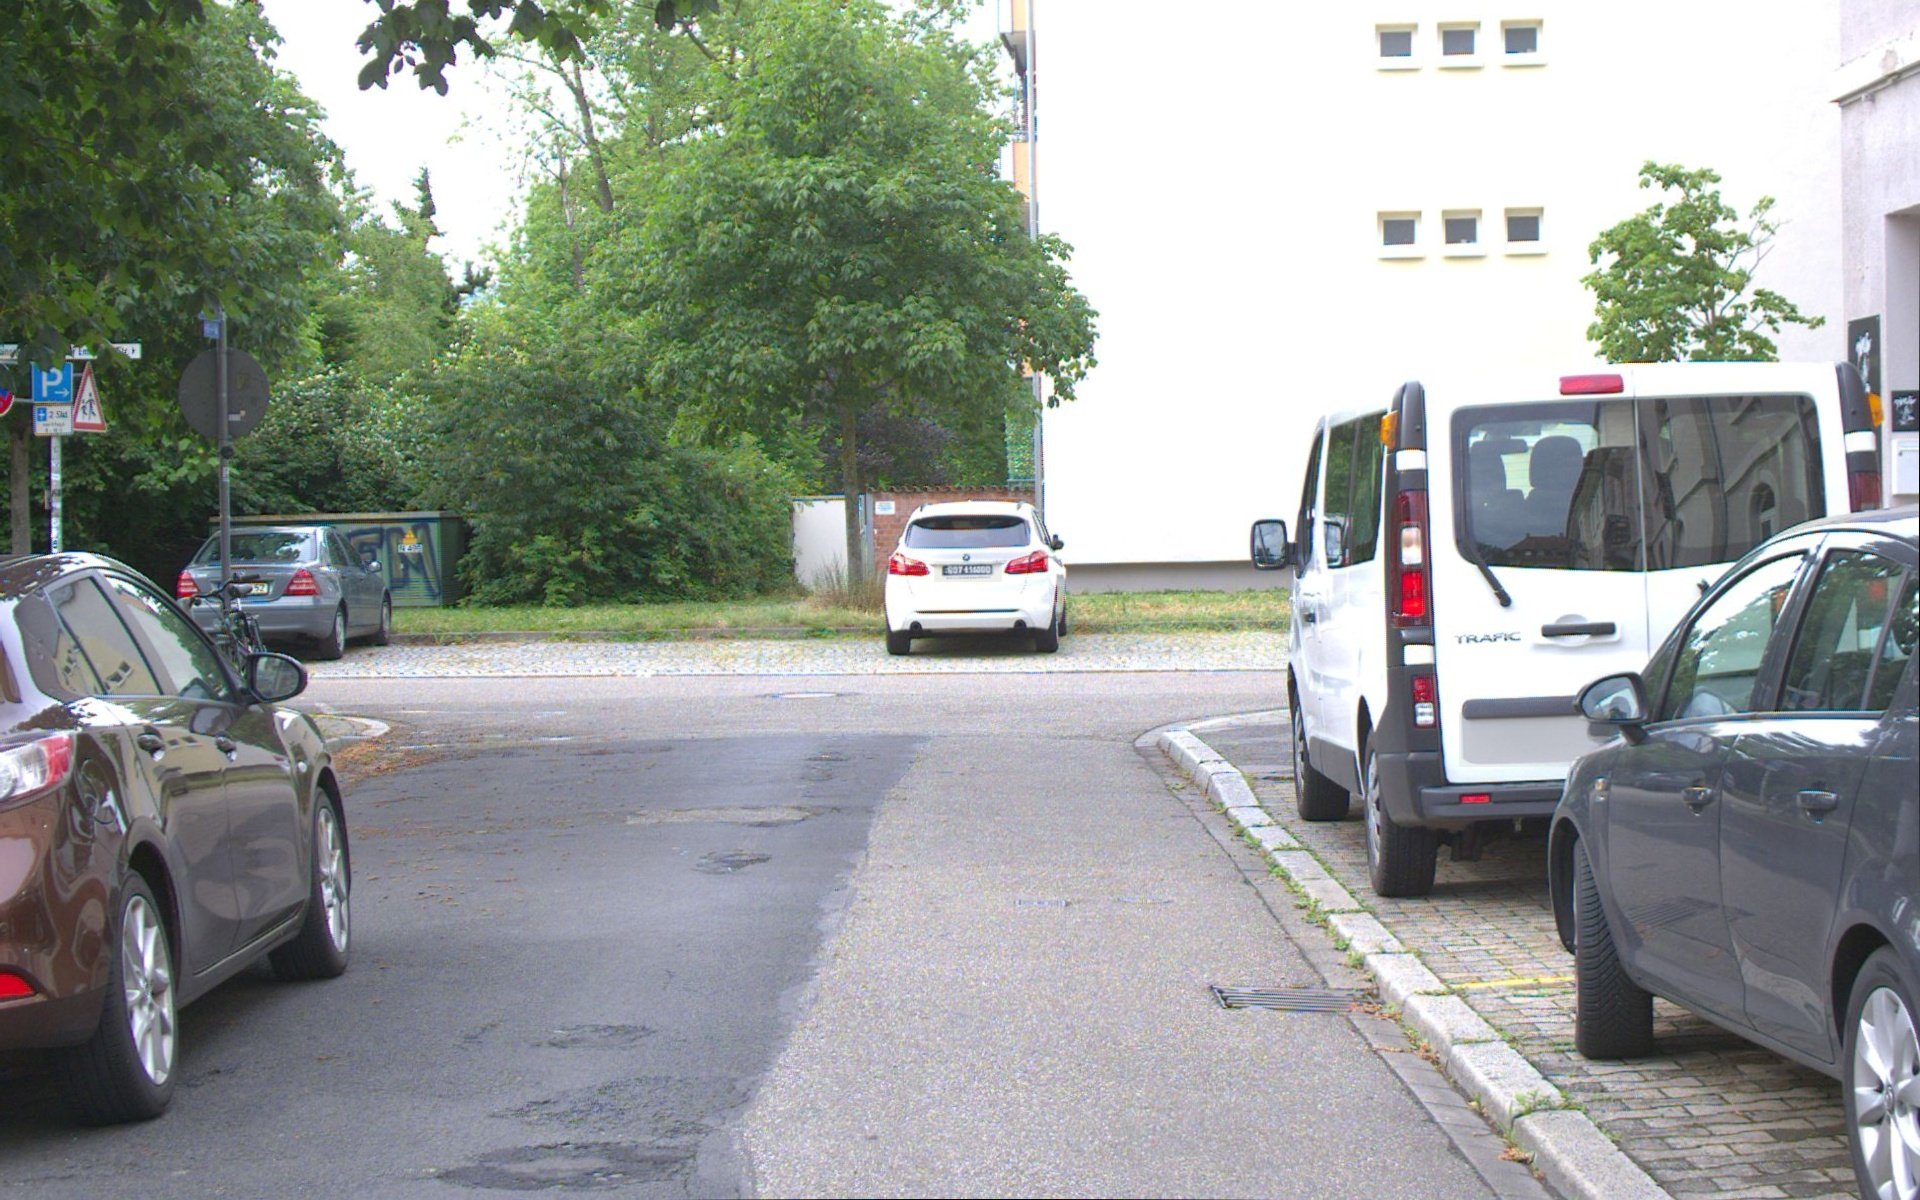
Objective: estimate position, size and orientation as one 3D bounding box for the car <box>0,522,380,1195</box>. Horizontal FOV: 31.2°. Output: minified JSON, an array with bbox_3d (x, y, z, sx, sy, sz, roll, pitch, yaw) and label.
[{"bbox_3d":[-2.897,0.603,9.715,1.711,1.453,4.163,-5,2,0],"label":"car"}]

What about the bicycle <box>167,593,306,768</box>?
[{"bbox_3d":[-4.578,0.485,21.860,0.510,0.982,2.183,1,2,-3],"label":"bicycle"}]

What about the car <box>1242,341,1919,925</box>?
[{"bbox_3d":[2.397,0.040,14.617,1.878,1.989,5.013,-2,2,0],"label":"car"}]

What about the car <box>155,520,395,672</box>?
[{"bbox_3d":[-7.413,-0.095,37.596,1.674,1.449,4.561,-1,2,0],"label":"car"}]

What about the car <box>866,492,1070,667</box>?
[{"bbox_3d":[0.147,-0.272,37.042,1.879,1.555,4.149,0,5,5],"label":"car"}]

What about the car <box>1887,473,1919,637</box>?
[{"bbox_3d":[11.152,-0.502,36.804,1.911,1.691,4.068,0,2,8],"label":"car"}]

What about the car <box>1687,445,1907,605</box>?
[{"bbox_3d":[8.717,-0.835,36.095,1.836,1.560,4.356,0,2,8],"label":"car"}]

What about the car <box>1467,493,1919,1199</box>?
[{"bbox_3d":[2.459,0.496,8.000,1.687,1.449,3.902,-3,2,-3],"label":"car"}]
